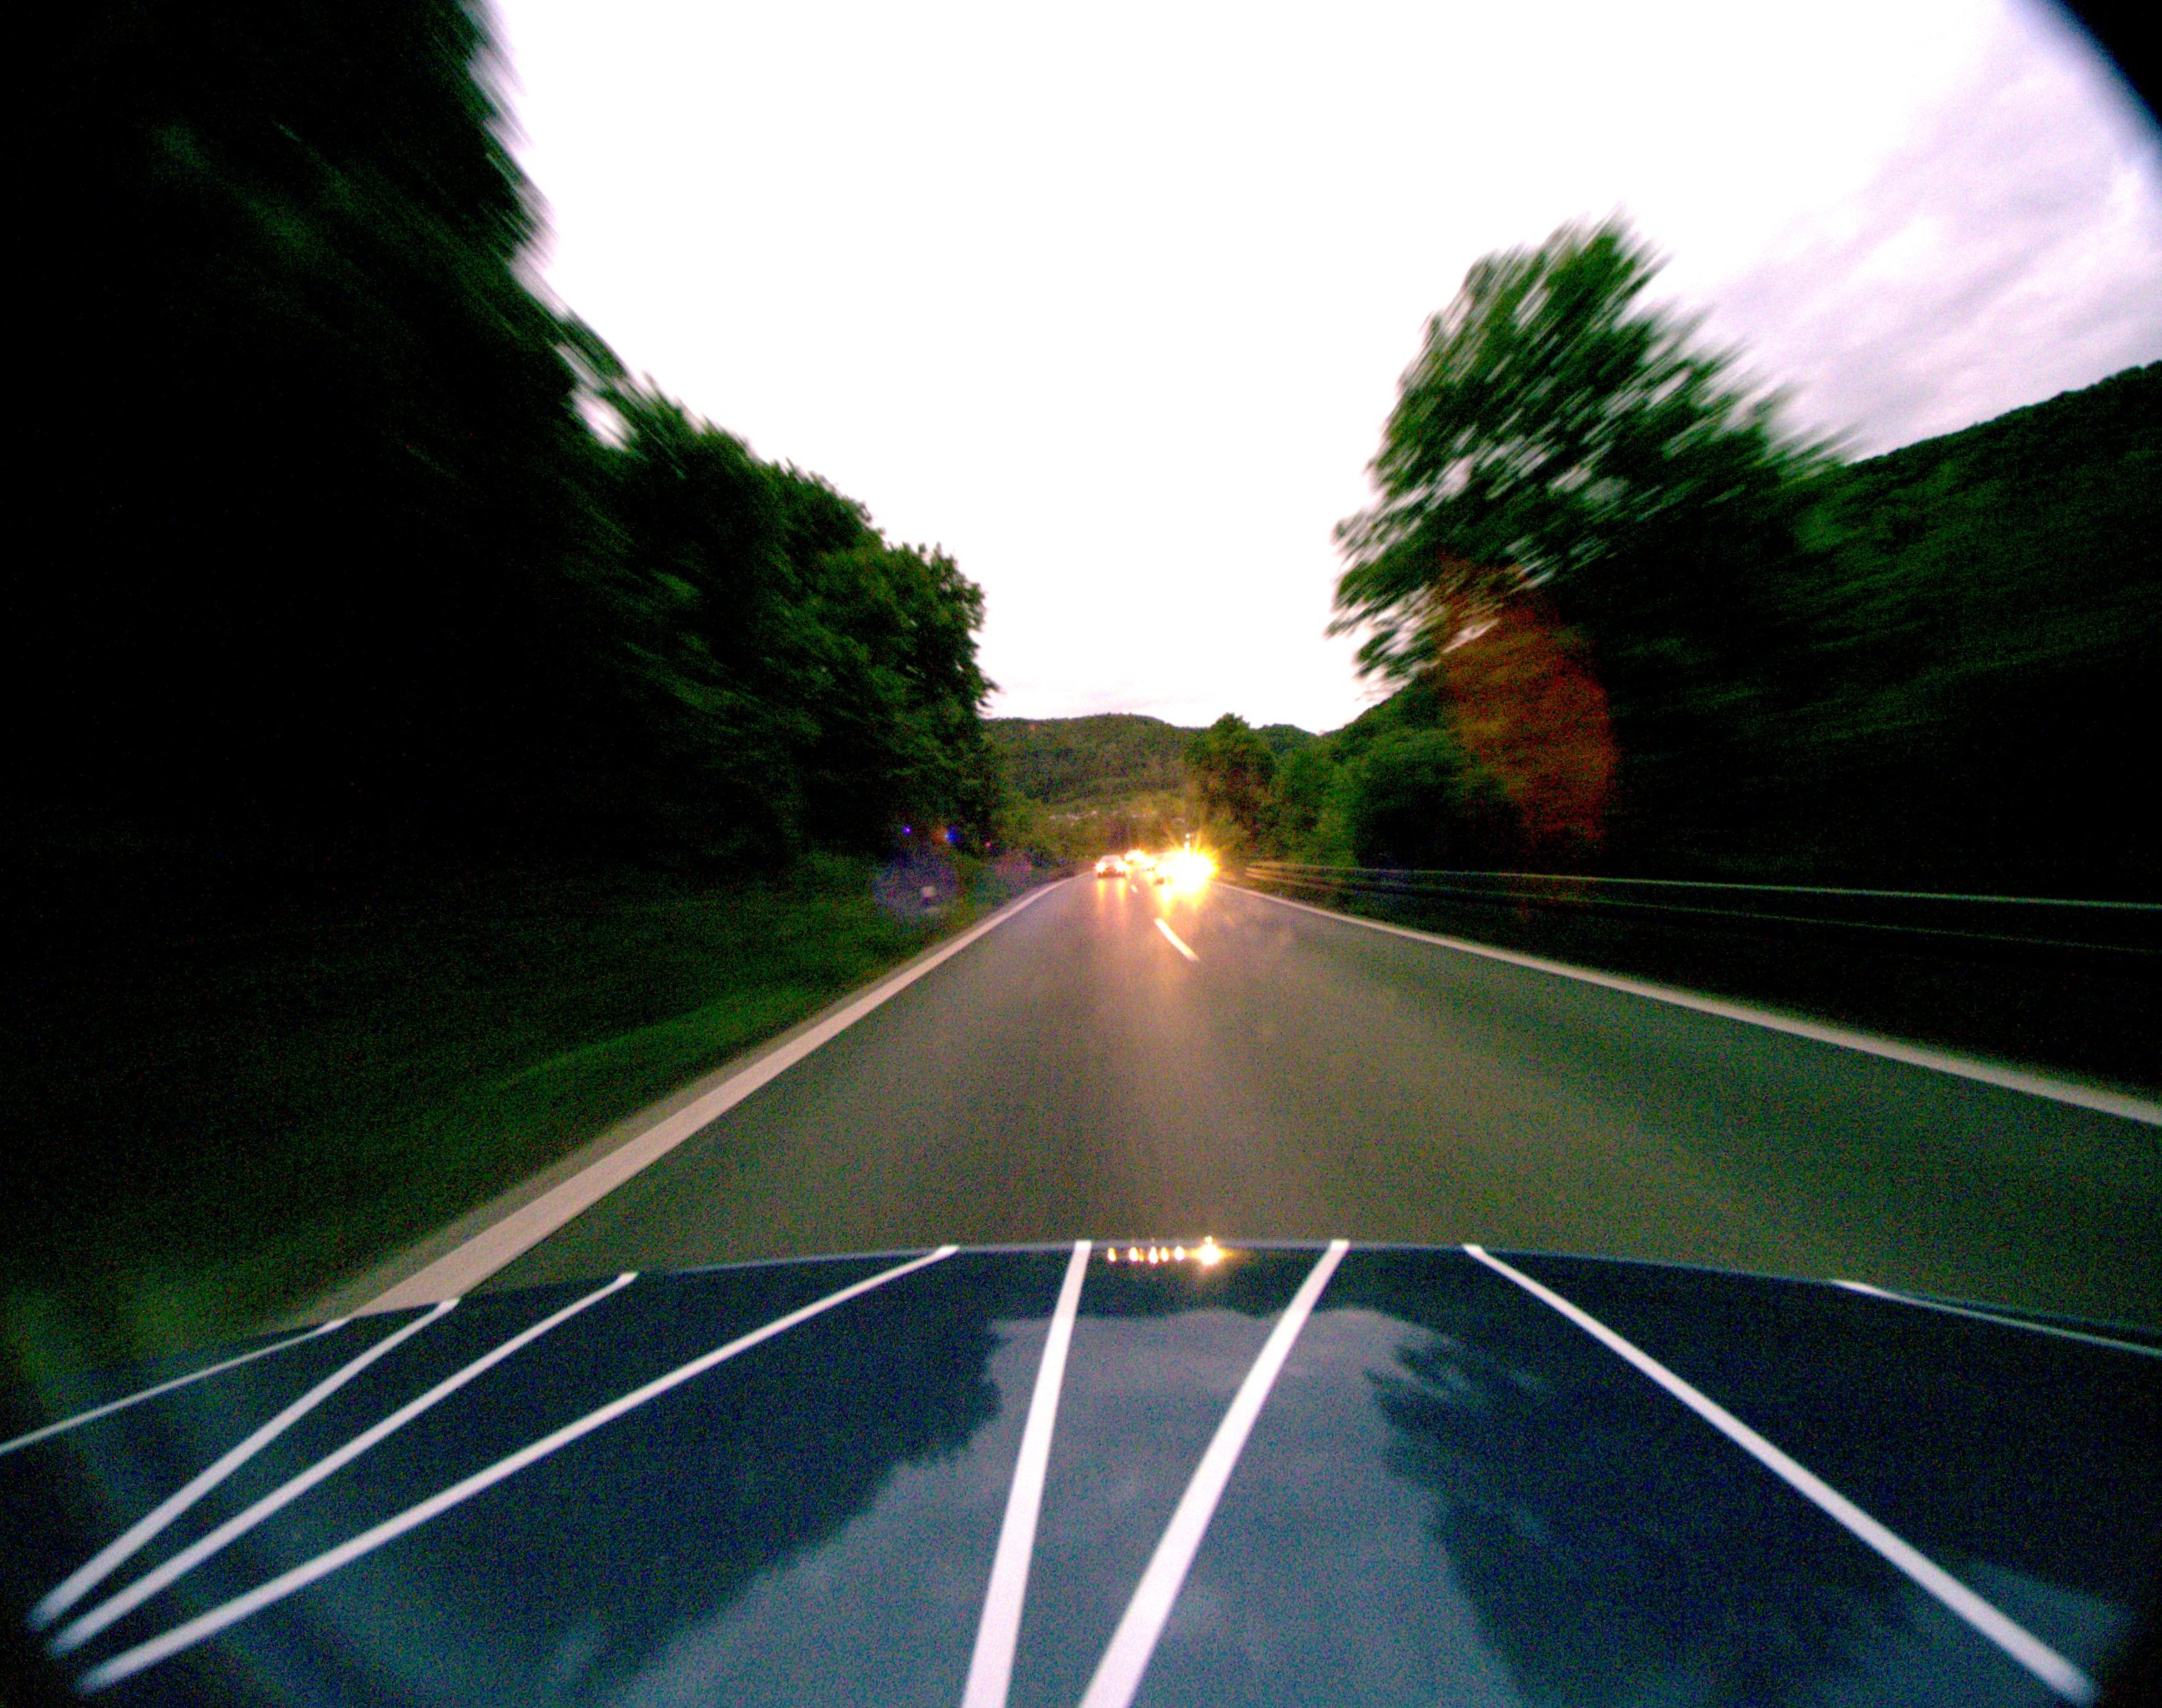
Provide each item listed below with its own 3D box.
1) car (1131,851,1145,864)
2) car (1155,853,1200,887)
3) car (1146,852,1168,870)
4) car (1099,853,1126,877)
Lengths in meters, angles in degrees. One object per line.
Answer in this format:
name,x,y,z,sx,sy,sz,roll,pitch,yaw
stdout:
car,7.892,0.485,105.641,1.737,1.641,3.669,-3,0,3
car,4.541,0.714,36.258,1.690,1.460,3.767,-3,0,1
car,6.663,0.623,66.463,1.690,1.425,3.669,-3,0,3
car,2.126,0.724,51.513,1.690,1.443,3.669,-3,0,3
